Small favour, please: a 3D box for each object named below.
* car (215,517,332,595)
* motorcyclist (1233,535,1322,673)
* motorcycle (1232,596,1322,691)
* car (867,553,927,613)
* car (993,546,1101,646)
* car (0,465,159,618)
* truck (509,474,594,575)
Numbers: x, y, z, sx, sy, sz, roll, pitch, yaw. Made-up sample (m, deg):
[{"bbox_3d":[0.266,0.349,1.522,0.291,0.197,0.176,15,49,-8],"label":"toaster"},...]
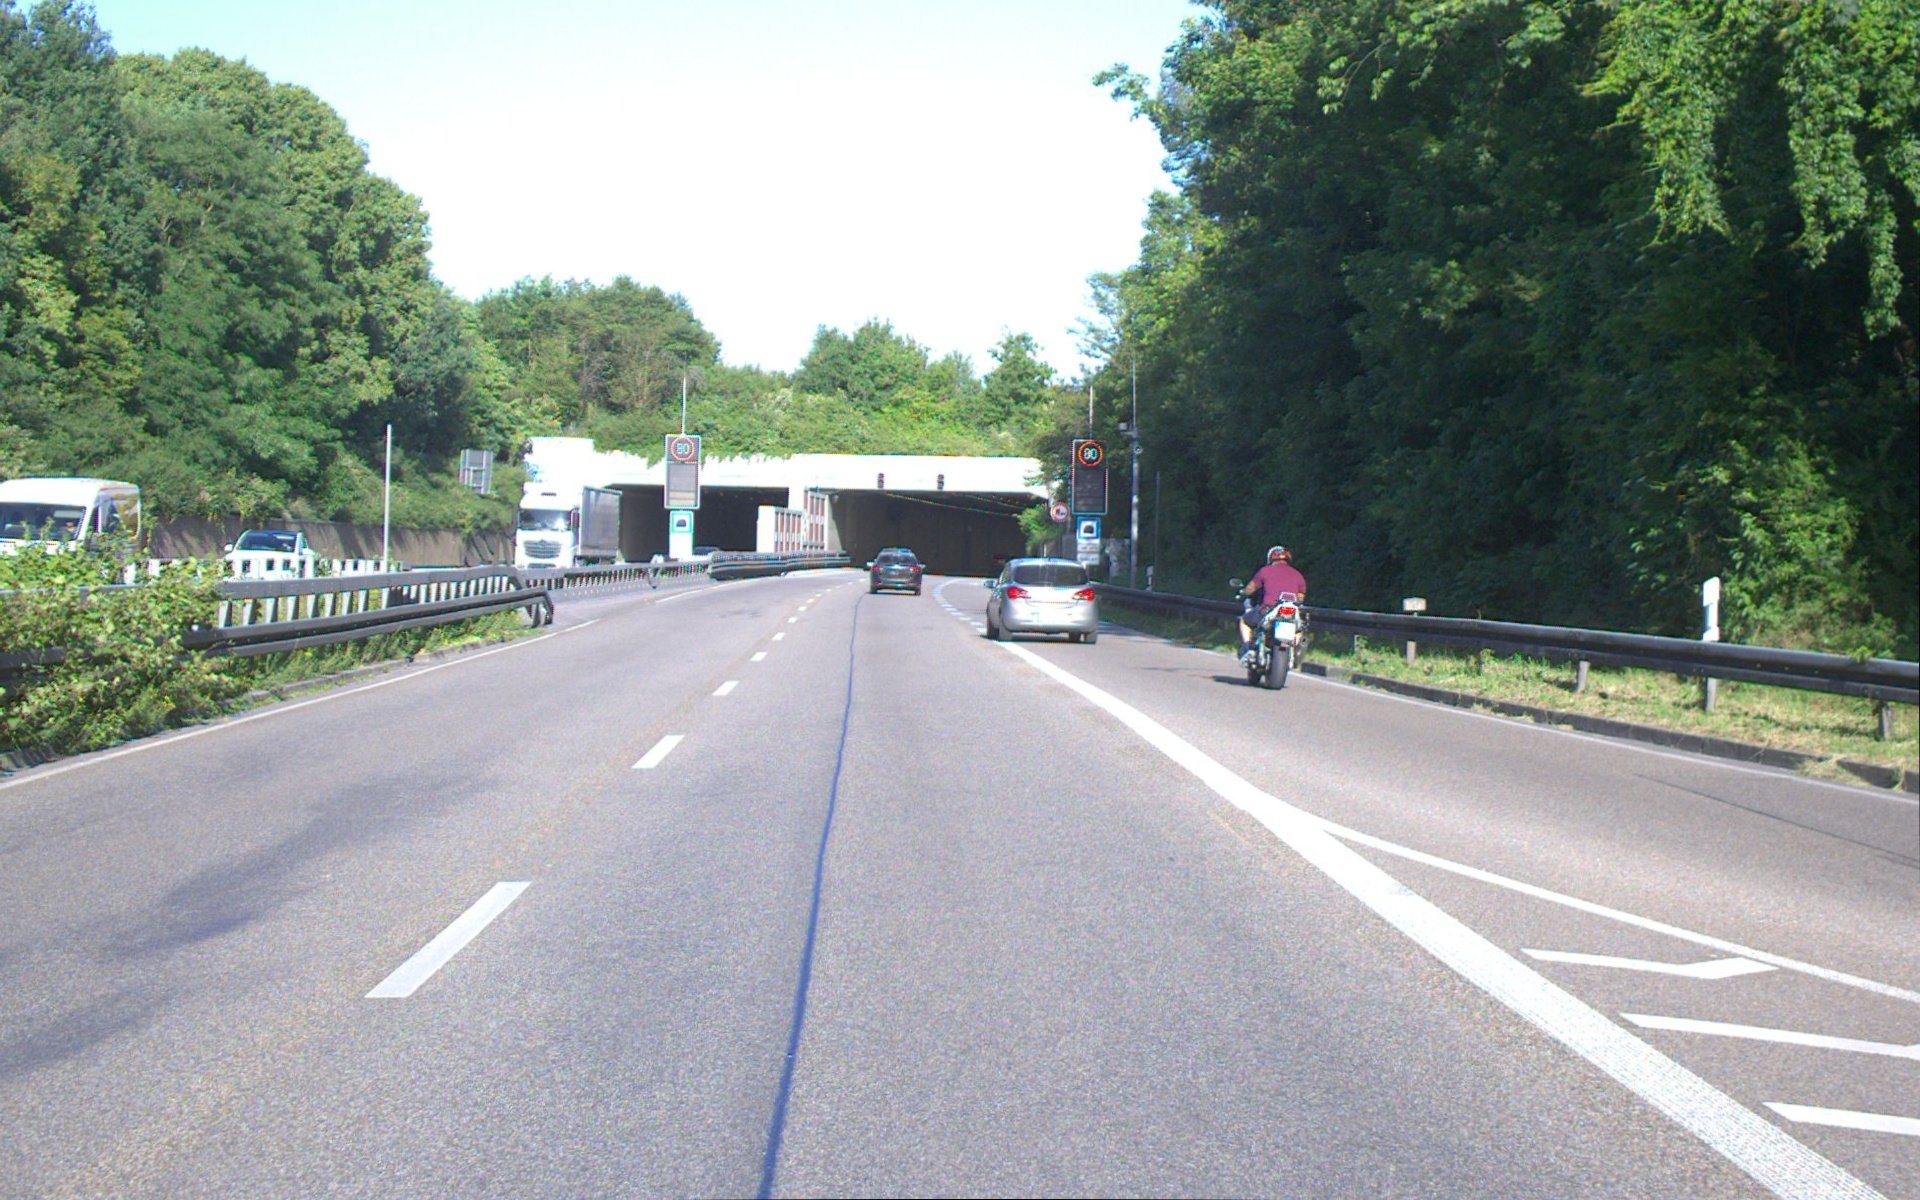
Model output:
[{"bbox_3d":[-17.122,-1.132,85.991,1.993,1.776,4.786,3,2,-1],"label":"car"},{"bbox_3d":[3.588,0.036,38.953,0.883,1.496,1.063,3,2,3],"label":"motorcyclist"},{"bbox_3d":[3.583,0.474,39.056,0.858,0.988,2.728,3,1,3],"label":"motorcycle"},{"bbox_3d":[-2.159,-0.608,119.599,1.993,1.919,4.000,2,1,-1],"label":"car"},{"bbox_3d":[1.492,-0.096,60.159,1.667,1.546,4.001,3,2,-1],"label":"car"},{"bbox_3d":[-16.559,-1.130,63.473,2.147,2.602,6.053,3,2,-1],"label":"car"},{"bbox_3d":[-18.037,-3.352,152.114,2.736,4.246,6.387,3,2,0],"label":"truck"}]
